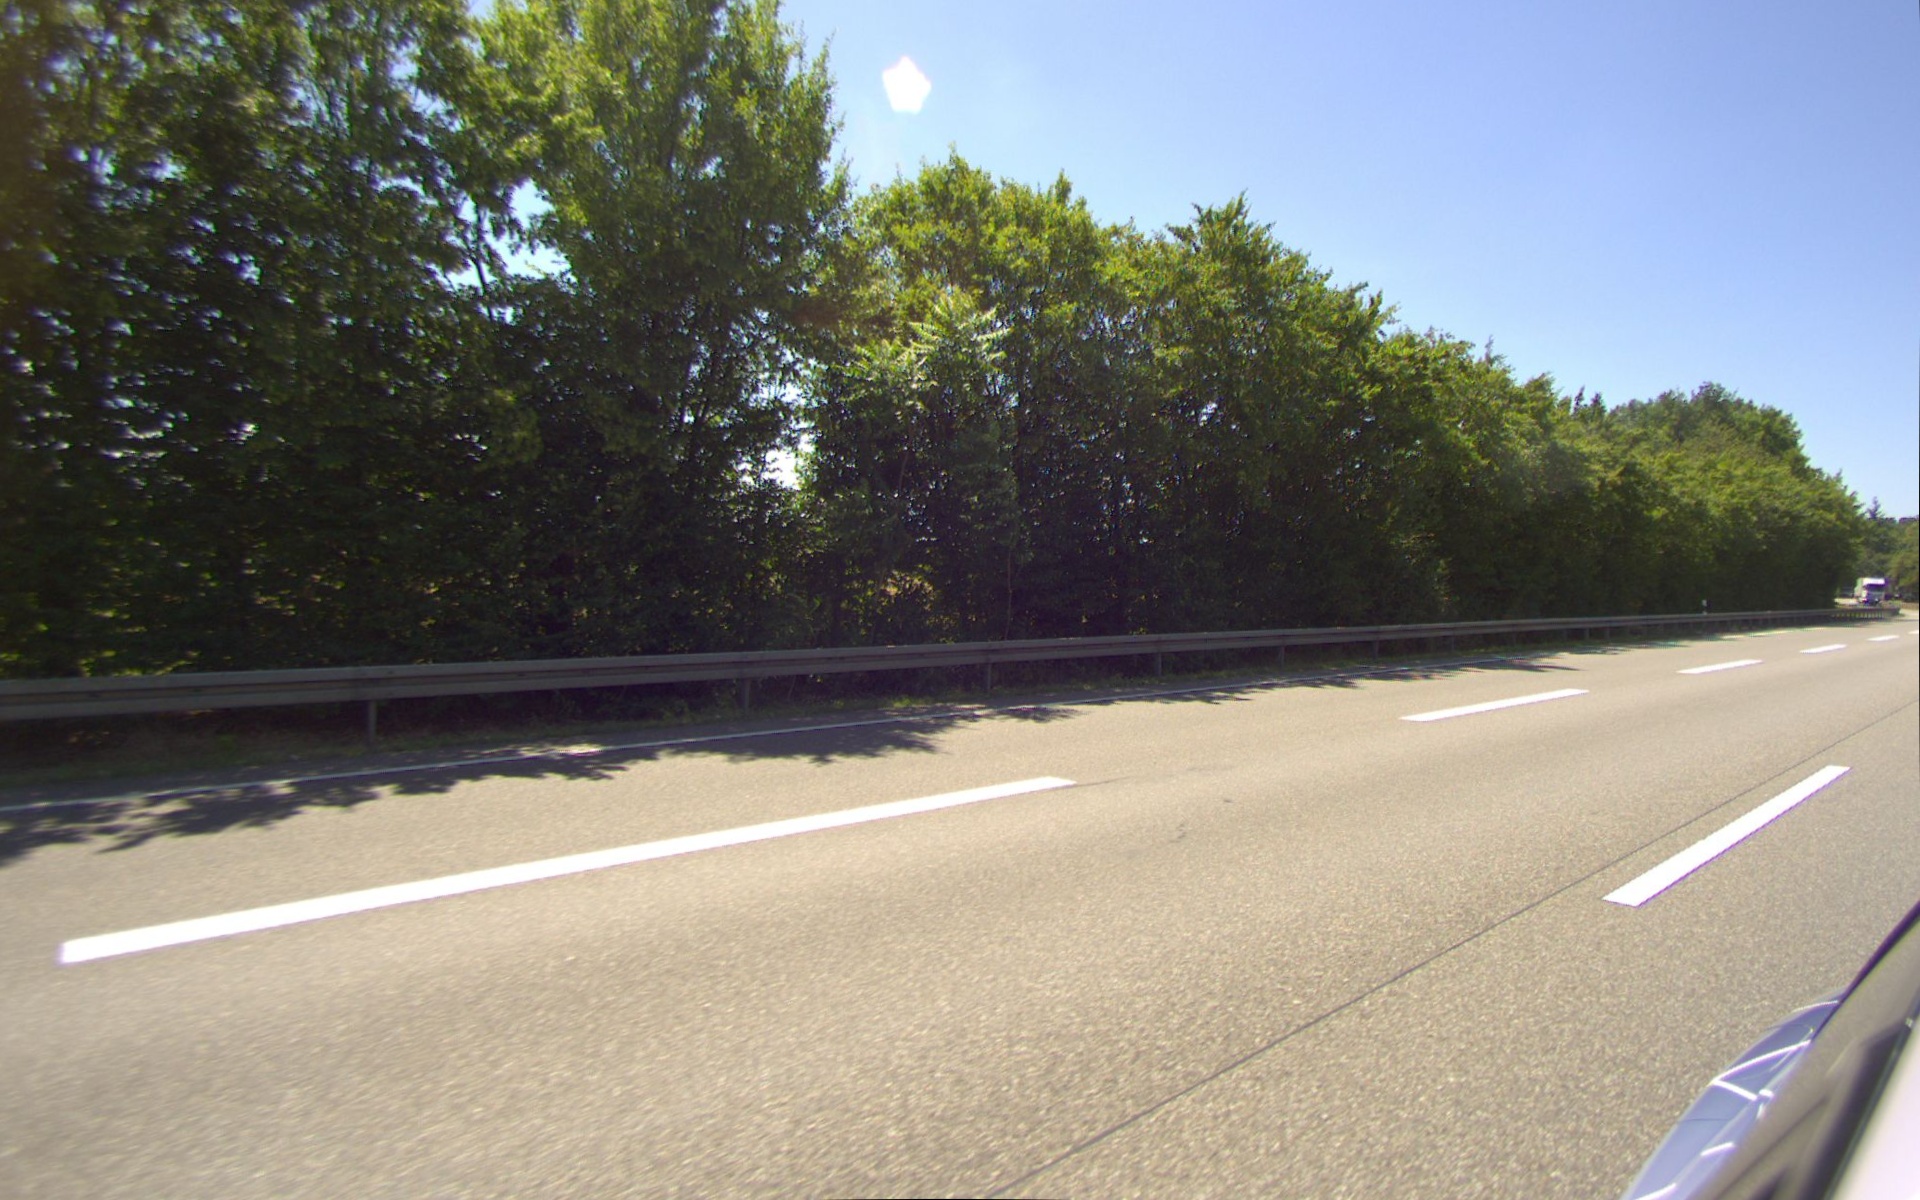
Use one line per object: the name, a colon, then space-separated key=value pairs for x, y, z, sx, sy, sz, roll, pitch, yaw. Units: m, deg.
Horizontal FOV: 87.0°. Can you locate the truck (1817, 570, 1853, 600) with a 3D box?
truck: x=127.805 y=-2.146 z=147.949 sx=3.373 sy=4.312 sz=6.531 roll=0 pitch=0 yaw=36

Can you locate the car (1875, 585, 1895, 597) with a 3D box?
car: x=142.099 y=-1.419 z=155.510 sx=1.995 sy=1.731 sz=4.604 roll=5 pitch=4 yaw=45

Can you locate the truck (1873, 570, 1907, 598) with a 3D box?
truck: x=149.968 y=-2.548 z=163.245 sx=3.376 sy=4.520 sz=7.288 roll=0 pitch=0 yaw=38
